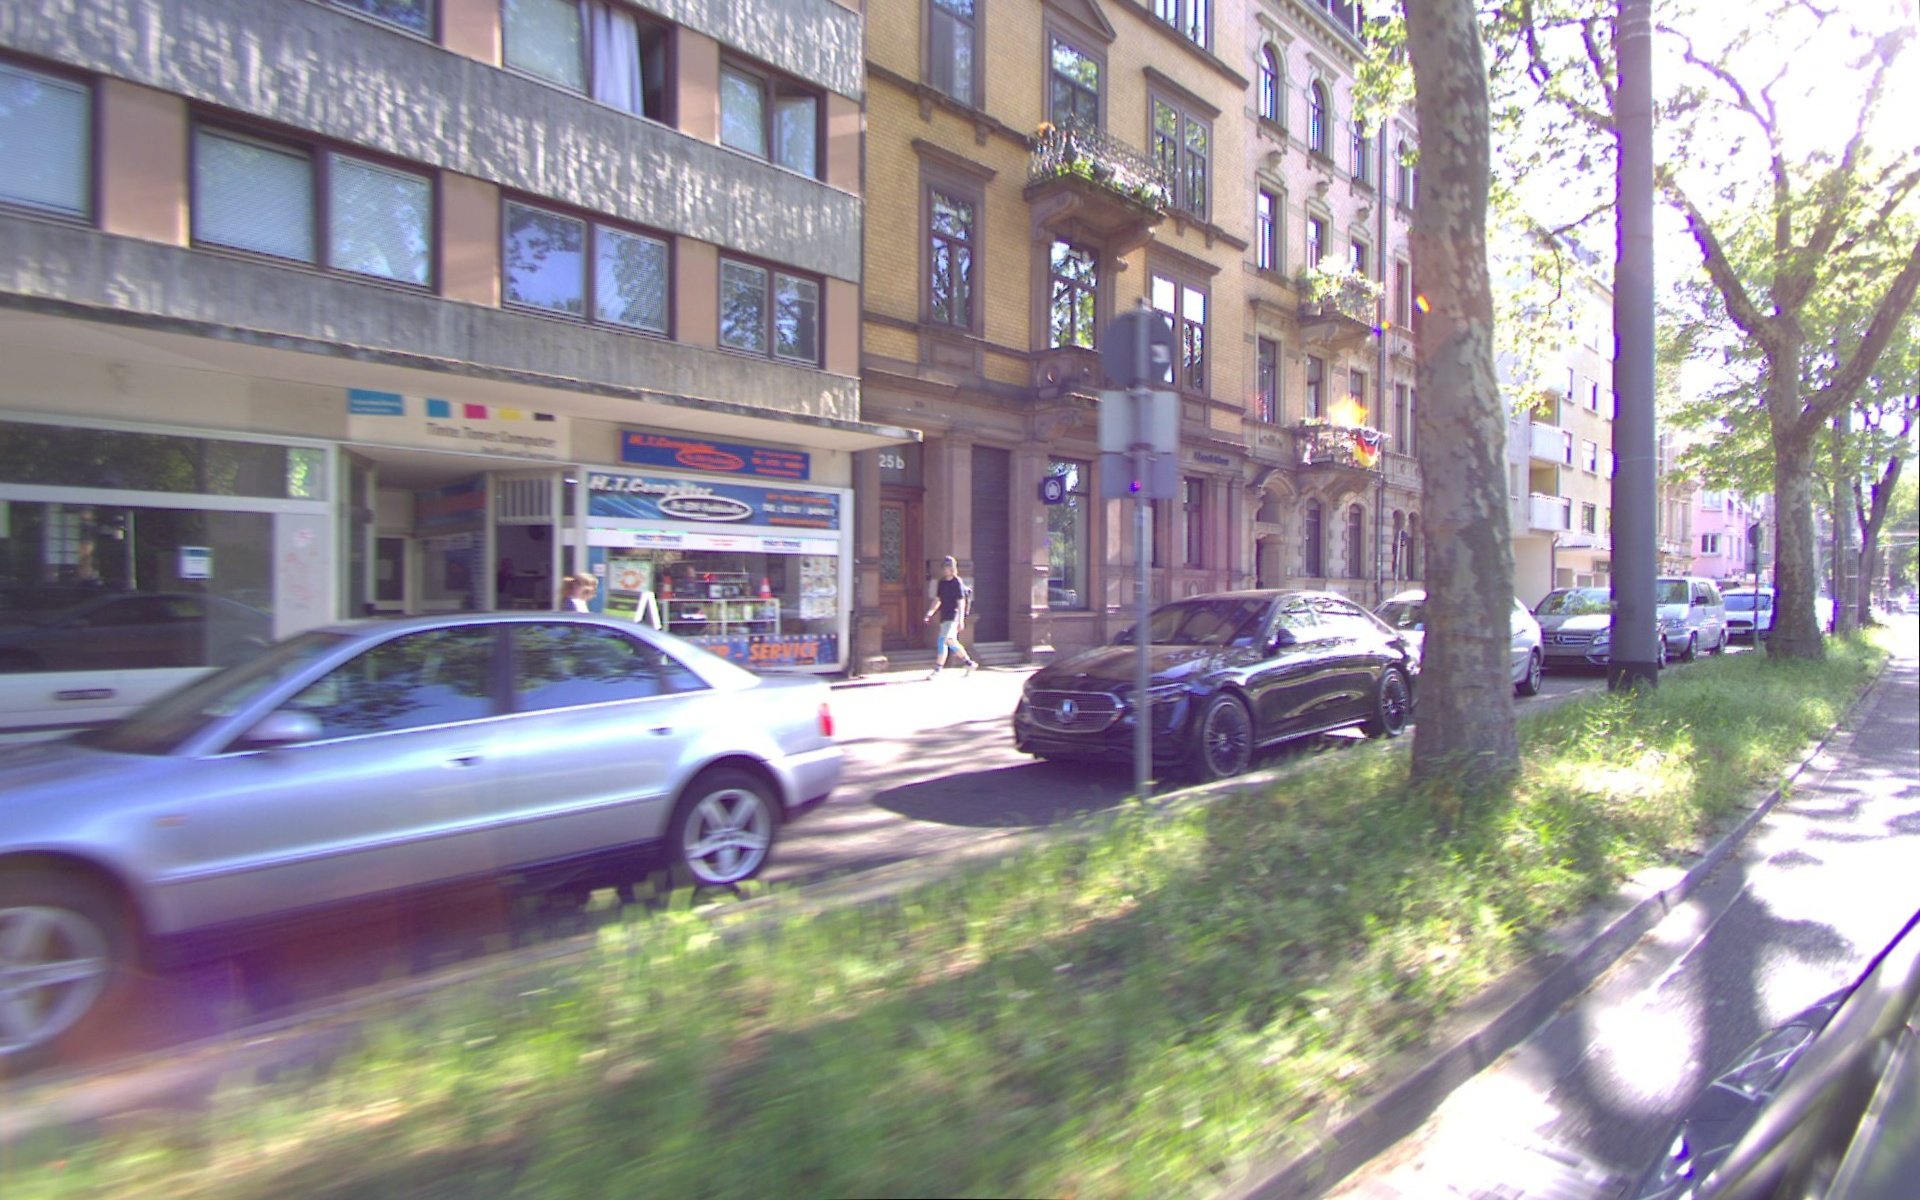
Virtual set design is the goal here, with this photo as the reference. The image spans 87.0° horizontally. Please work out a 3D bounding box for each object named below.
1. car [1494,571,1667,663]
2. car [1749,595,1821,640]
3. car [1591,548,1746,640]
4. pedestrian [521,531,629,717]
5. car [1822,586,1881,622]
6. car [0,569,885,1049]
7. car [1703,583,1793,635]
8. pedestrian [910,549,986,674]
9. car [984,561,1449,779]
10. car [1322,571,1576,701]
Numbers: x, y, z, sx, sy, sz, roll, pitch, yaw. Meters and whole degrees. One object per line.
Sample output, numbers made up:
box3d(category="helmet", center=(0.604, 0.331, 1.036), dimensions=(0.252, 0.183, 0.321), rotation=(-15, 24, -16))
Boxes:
box3d(category="car", center=(11.640, 0.286, 18.857), dimensions=(4.286, 1.521, 1.705), rotation=(0, -1, -44))
box3d(category="car", center=(28.666, 0.593, 35.125), dimensions=(1.625, 1.496, 3.639), rotation=(-2, -1, 44))
box3d(category="car", center=(15.835, -0.102, 22.518), dimensions=(4.718, 1.839, 1.866), rotation=(0, -1, -43))
box3d(category="pedestrian", center=(-3.928, 0.237, 10.299), dimensions=(0.703, 1.783, 1.000), rotation=(1, -2, -43))
box3d(category="car", center=(38.134, 0.173, 43.250), dimensions=(3.841, 1.453, 1.590), rotation=(0, -1, -44))
box3d(category="car", center=(-2.581, 0.646, 4.579), dimensions=(4.443, 1.442, 1.701), rotation=(0, -1, -45))
box3d(category="car", center=(24.394, 0.281, 31.302), dimensions=(3.722, 1.504, 1.563), rotation=(0, -1, -42))
box3d(category="pedestrian", center=(-0.188, 0.162, 15.689), dimensions=(0.703, 1.863, 1.001), rotation=(0, 0, -42))
box3d(category="car", center=(2.585, 0.474, 9.330), dimensions=(4.836, 1.509, 1.807), rotation=(-1, -1, -43))
box3d(category="car", center=(6.789, 0.399, 13.783), dimensions=(1.677, 1.485, 4.594), rotation=(-2, -1, 45))
